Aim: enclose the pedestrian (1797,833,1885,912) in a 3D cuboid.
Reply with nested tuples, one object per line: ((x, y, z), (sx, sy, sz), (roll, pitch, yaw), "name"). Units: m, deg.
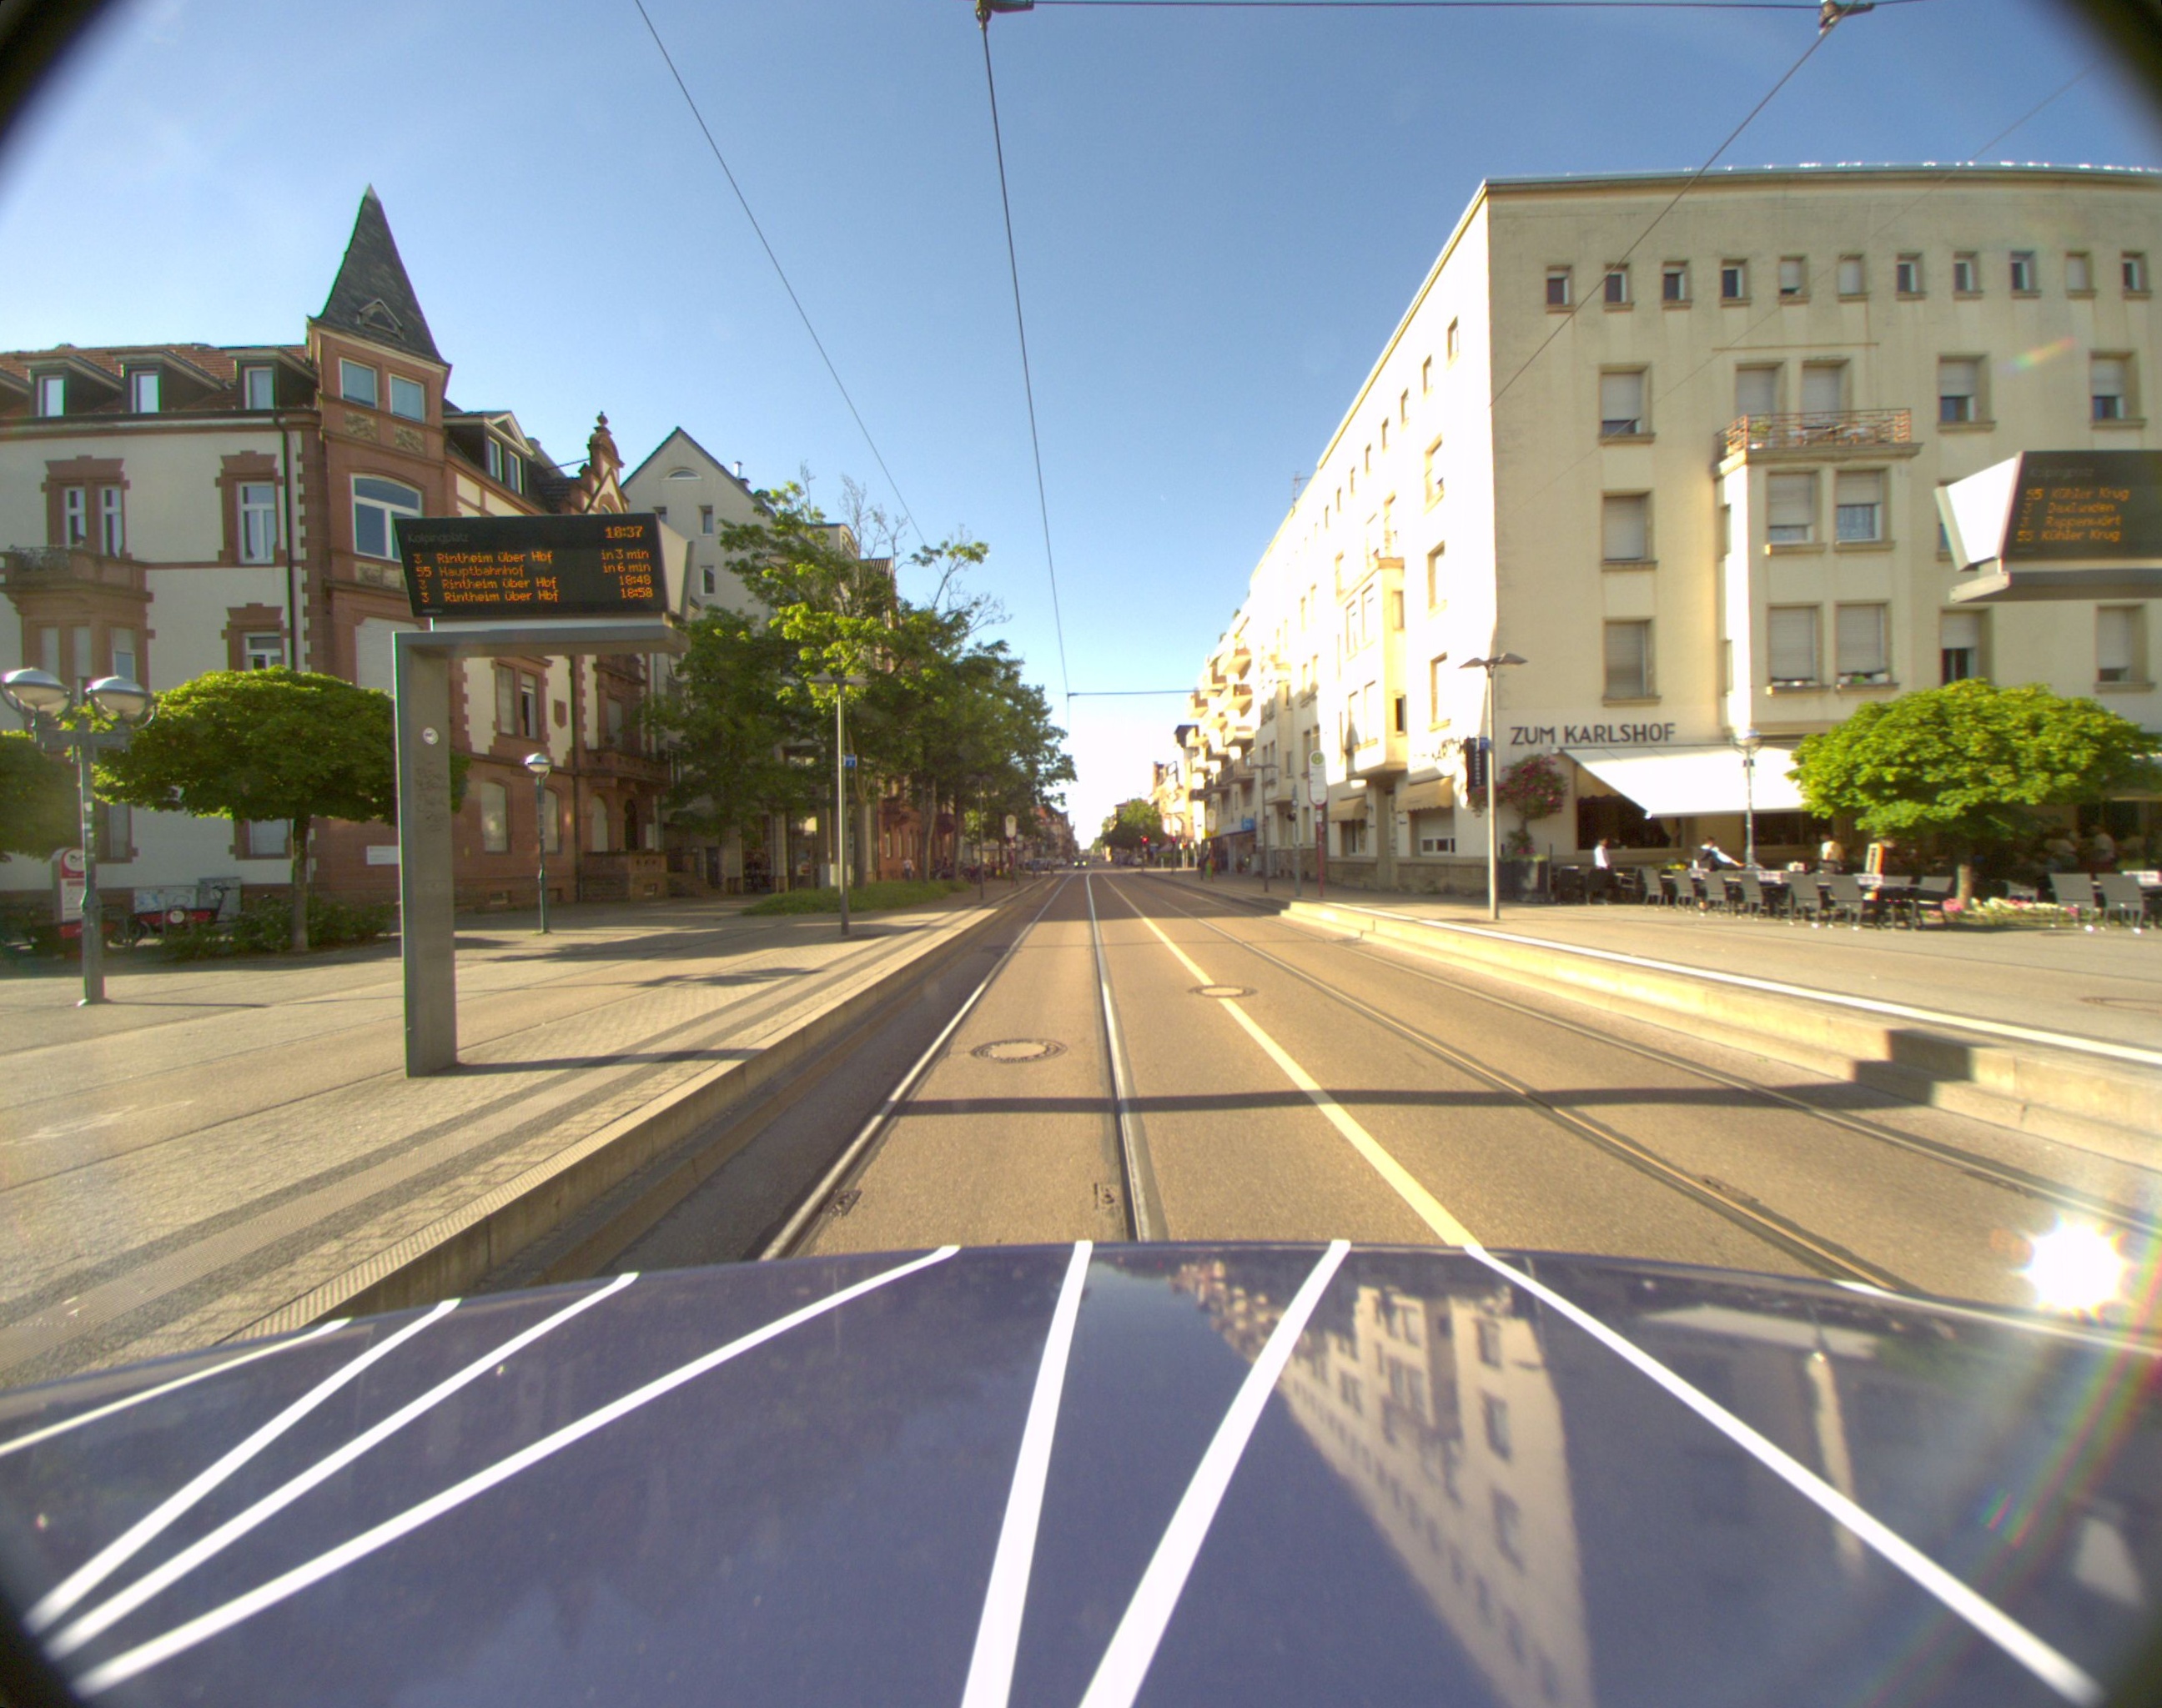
((16.007, 0.394, 16.027), (1.066, 1.634, 0.757), (0, -2, -4), "pedestrian")

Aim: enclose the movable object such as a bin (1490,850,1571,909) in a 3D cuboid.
((11.171, 0.609, 18.934), (1.318, 1.392, 1.128), (-2, 1, -1), "movable object such as a bin")

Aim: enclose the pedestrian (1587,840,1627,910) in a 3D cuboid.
((12.574, 0.509, 18.184), (0.672, 1.634, 0.752), (-2, -2, 28), "pedestrian")

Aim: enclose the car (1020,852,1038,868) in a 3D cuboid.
((-7.132, 0.789, 104.595), (1.998, 2.002, 4.001), (-2, 0, 4), "car")

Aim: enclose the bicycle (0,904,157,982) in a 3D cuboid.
((-18.168, 1.544, 13.315), (0.790, 1.062, 2.804), (-2, 2, -8), "bicycle")

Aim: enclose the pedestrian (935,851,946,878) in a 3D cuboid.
((-10.390, 0.762, 56.225), (0.653, 2.002, 0.559), (-2, 1, 3), "pedestrian")

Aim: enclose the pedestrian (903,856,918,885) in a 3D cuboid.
((-10.613, 1.016, 47.285), (0.742, 1.725, 0.877), (-2, 1, -6), "pedestrian")

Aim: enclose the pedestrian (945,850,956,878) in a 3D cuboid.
((-9.648, 0.738, 56.162), (0.653, 2.002, 0.559), (-2, 1, 3), "pedestrian")

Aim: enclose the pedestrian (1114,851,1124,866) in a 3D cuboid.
((5.141, 0.619, 102.695), (1.334, 1.990, 1.138), (-1, 1, 1), "pedestrian")

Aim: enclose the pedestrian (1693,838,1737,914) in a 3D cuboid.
((14.092, 0.495, 16.898), (0.672, 1.634, 0.678), (-2, -3, 42), "pedestrian")

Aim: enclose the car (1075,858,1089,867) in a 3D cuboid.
((0.151, 1.250, 117.563), (1.998, 1.318, 3.863), (-2, 0, 1), "car")
